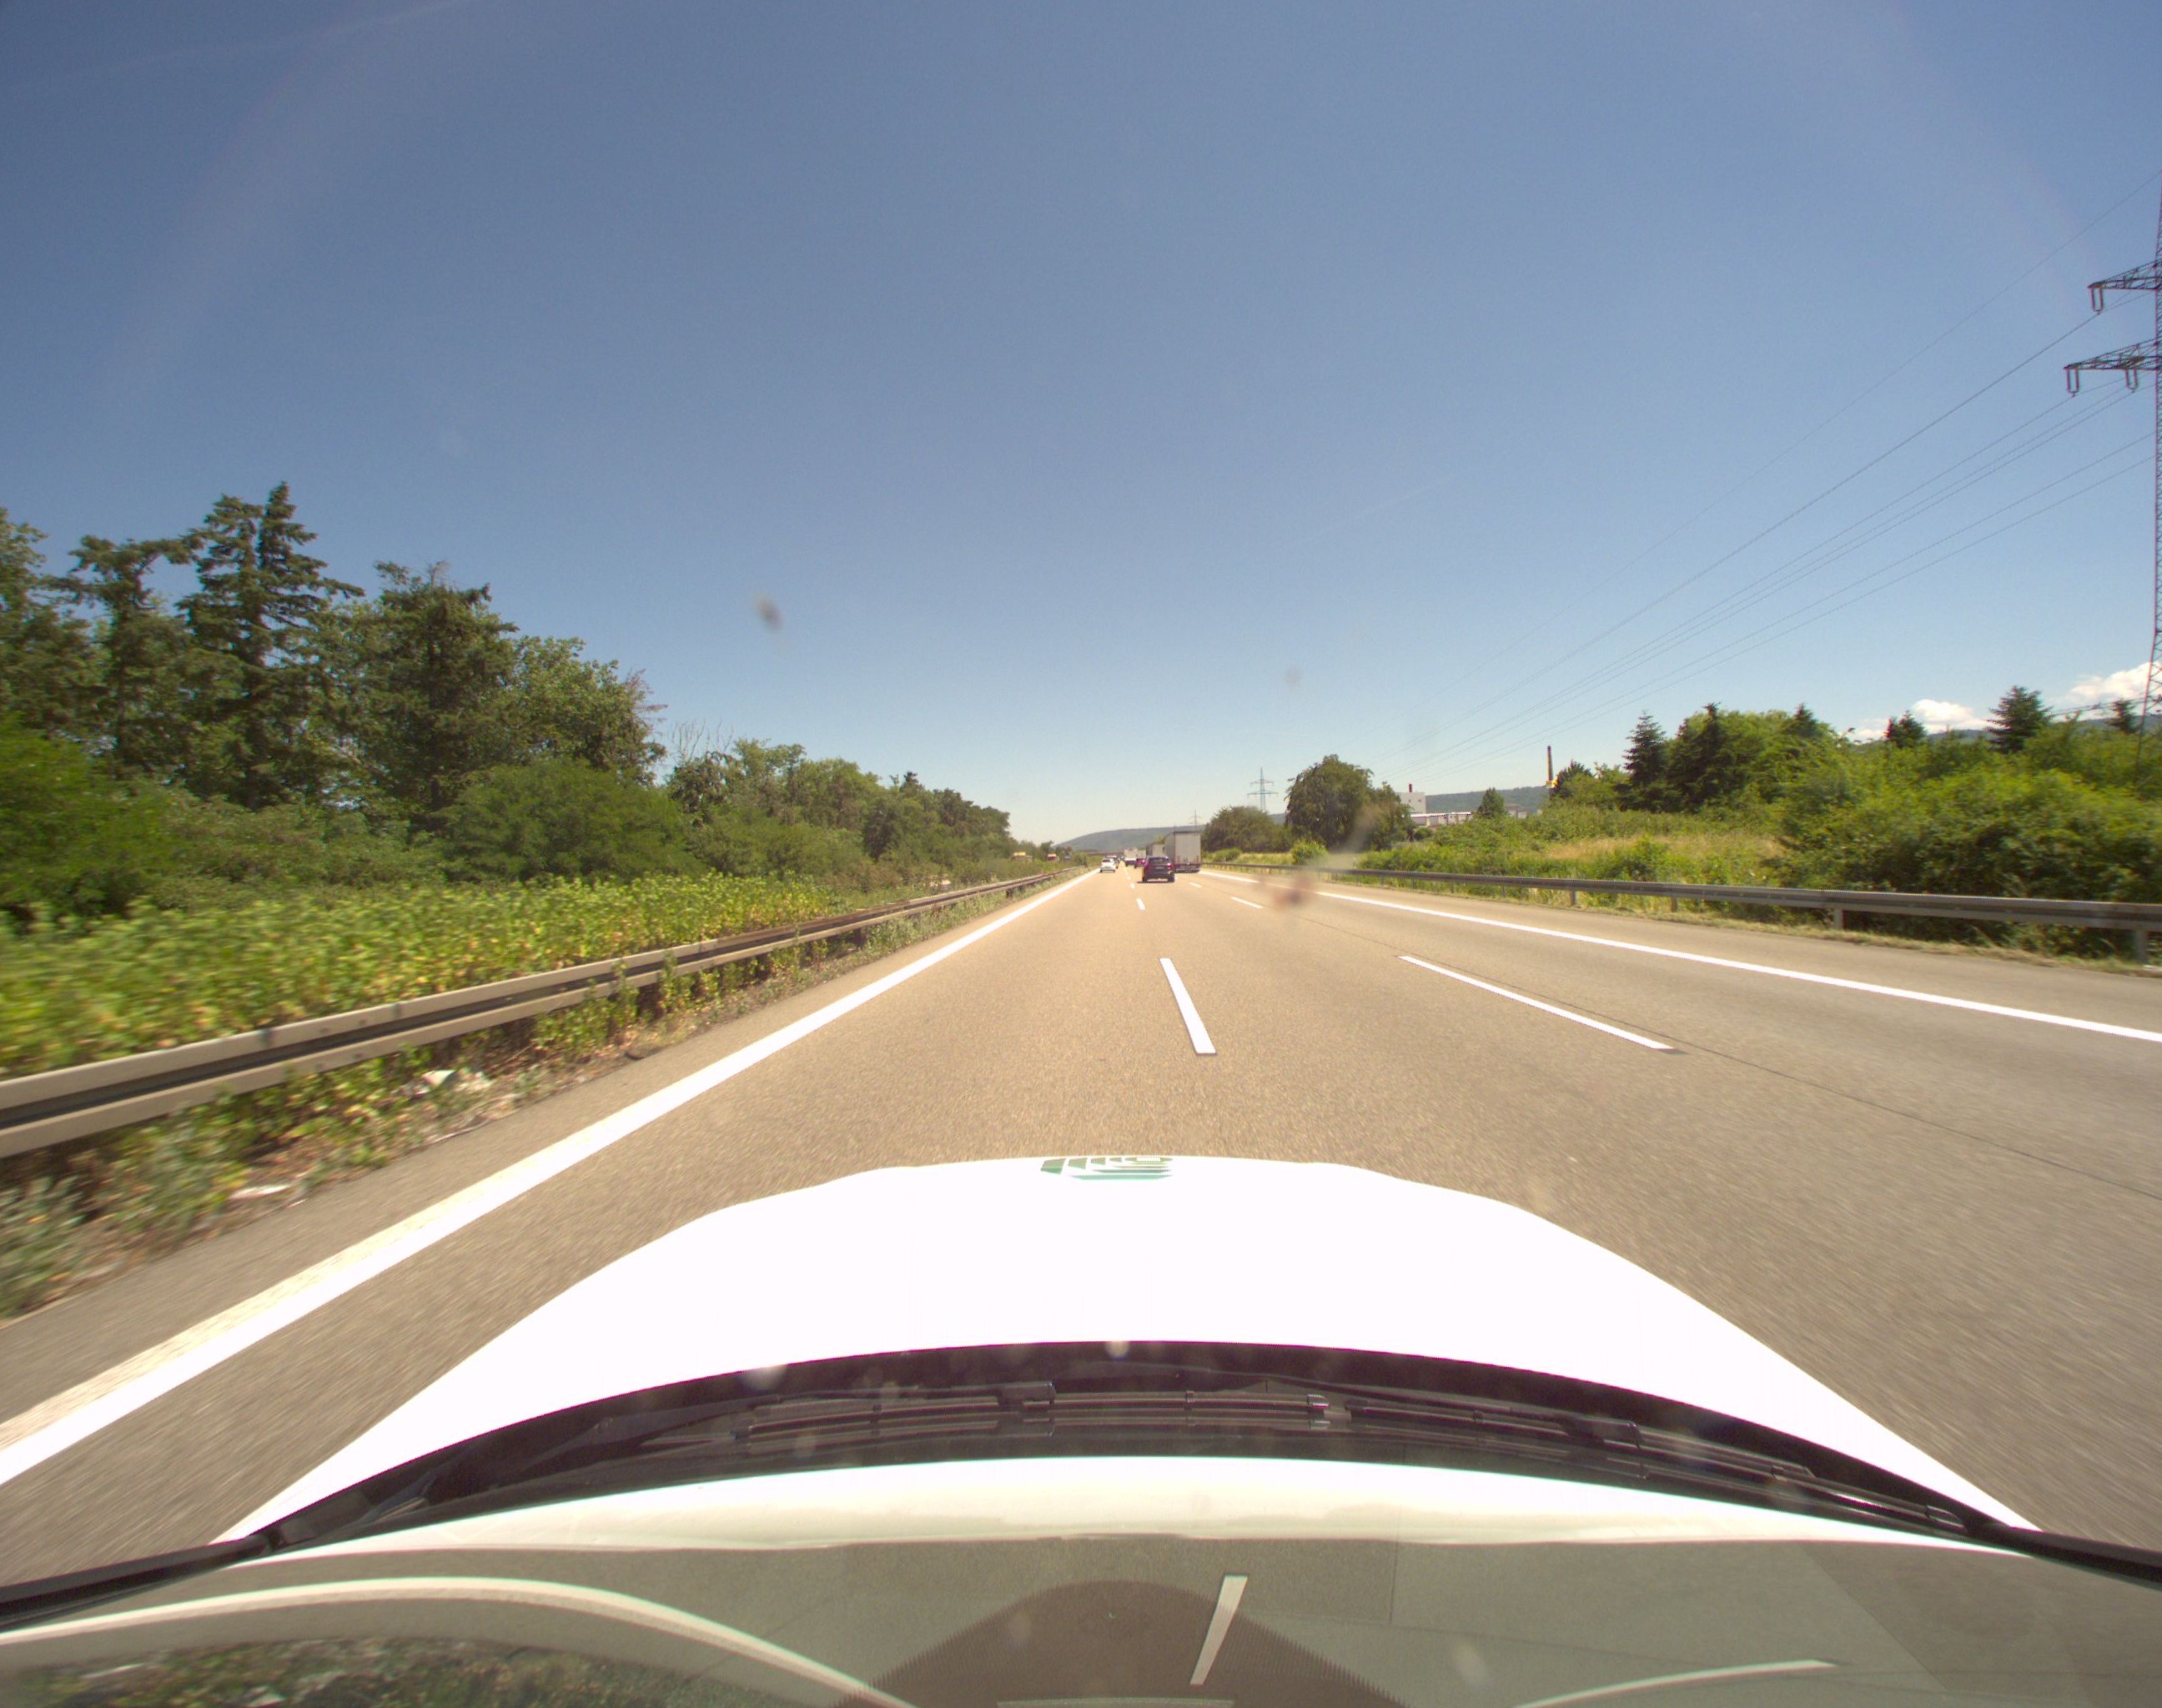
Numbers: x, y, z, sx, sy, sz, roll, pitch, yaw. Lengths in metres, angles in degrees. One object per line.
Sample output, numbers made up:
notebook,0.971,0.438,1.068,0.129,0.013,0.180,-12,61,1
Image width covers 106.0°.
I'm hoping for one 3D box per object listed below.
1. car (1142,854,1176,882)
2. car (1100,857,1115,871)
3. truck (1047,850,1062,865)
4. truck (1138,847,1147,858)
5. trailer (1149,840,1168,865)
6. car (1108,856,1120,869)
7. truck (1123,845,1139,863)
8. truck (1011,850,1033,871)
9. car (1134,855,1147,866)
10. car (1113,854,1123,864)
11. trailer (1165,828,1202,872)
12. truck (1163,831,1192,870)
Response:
car,4.811,0.866,50.786,1.866,1.623,4.006,-1,0,2
car,2.928,1.055,89.581,1.601,1.467,4.002,-3,0,2
truck,-7.136,0.865,220.146,2.888,3.706,11.906,-4,0,3
truck,17.641,-0.447,235.121,2.212,3.209,10.391,-3,0,3
trailer,13.835,-0.259,146.034,2.777,4.164,13.585,-3,-1,3
car,4.916,1.261,121.971,1.754,1.850,4.002,-3,0,2
truck,9.420,0.054,153.854,2.771,3.373,8.132,-1,-1,3
truck,-11.066,1.297,153.880,2.528,3.634,11.852,-4,-1,3
car,8.629,0.912,118.219,1.796,1.545,4.003,-1,-1,3
car,7.692,1.042,169.600,1.986,2.013,4.001,-3,0,1
trailer,10.324,-0.369,83.411,2.725,4.106,13.131,-1,0,3
truck,10.666,-0.338,90.306,2.725,4.120,6.129,-1,-1,3
